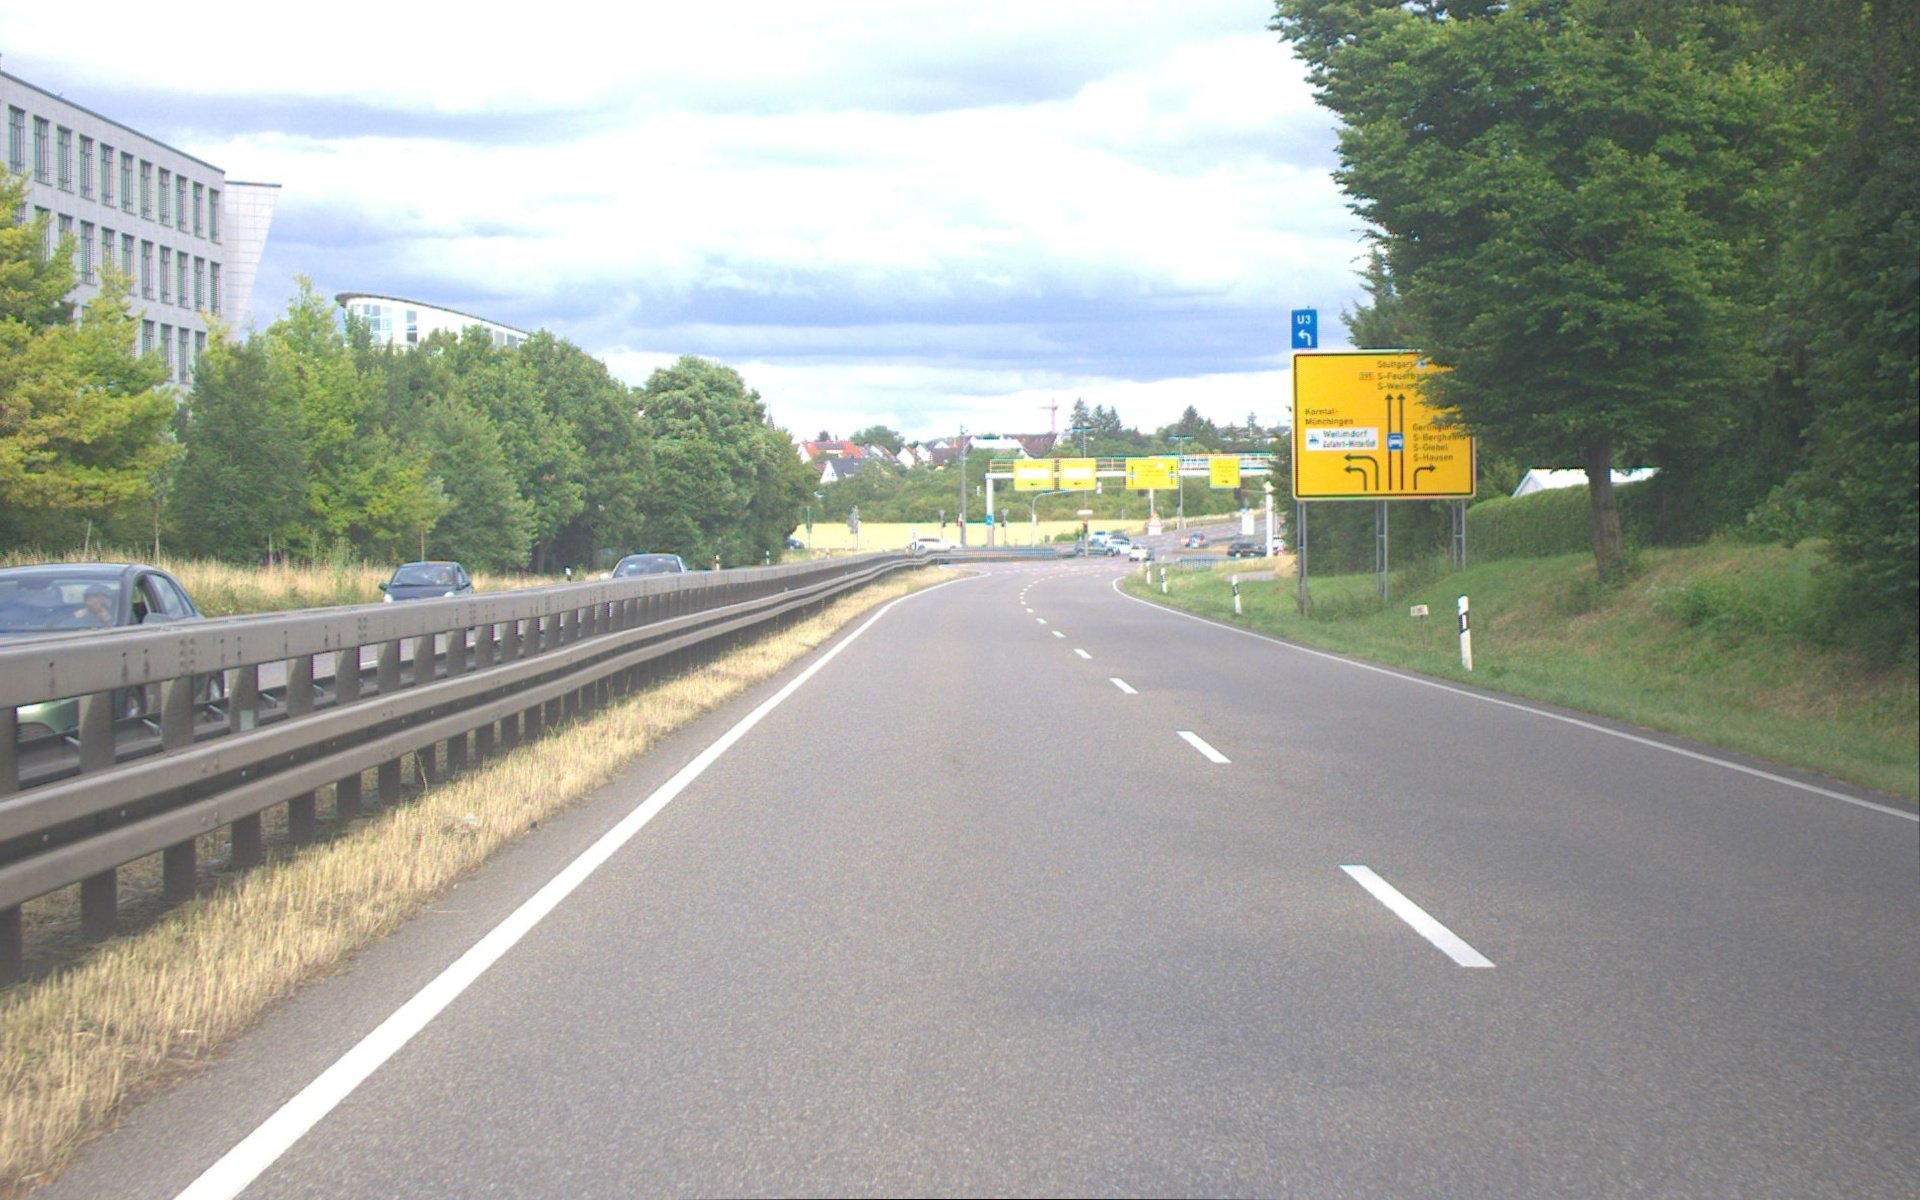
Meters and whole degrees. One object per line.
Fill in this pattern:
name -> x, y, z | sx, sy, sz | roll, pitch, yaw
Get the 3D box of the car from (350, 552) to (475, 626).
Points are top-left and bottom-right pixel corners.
car -> -11.155, -0.249, 70.328 | 1.757, 1.417, 4.566 | -1, 1, 1

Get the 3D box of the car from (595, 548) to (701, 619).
car -> -6.448, -0.361, 71.416 | 1.835, 1.374, 4.567 | -1, 1, -1

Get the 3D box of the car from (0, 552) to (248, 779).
car -> -6.407, 0.415, 24.574 | 1.742, 1.453, 4.312 | -2, 1, -1
